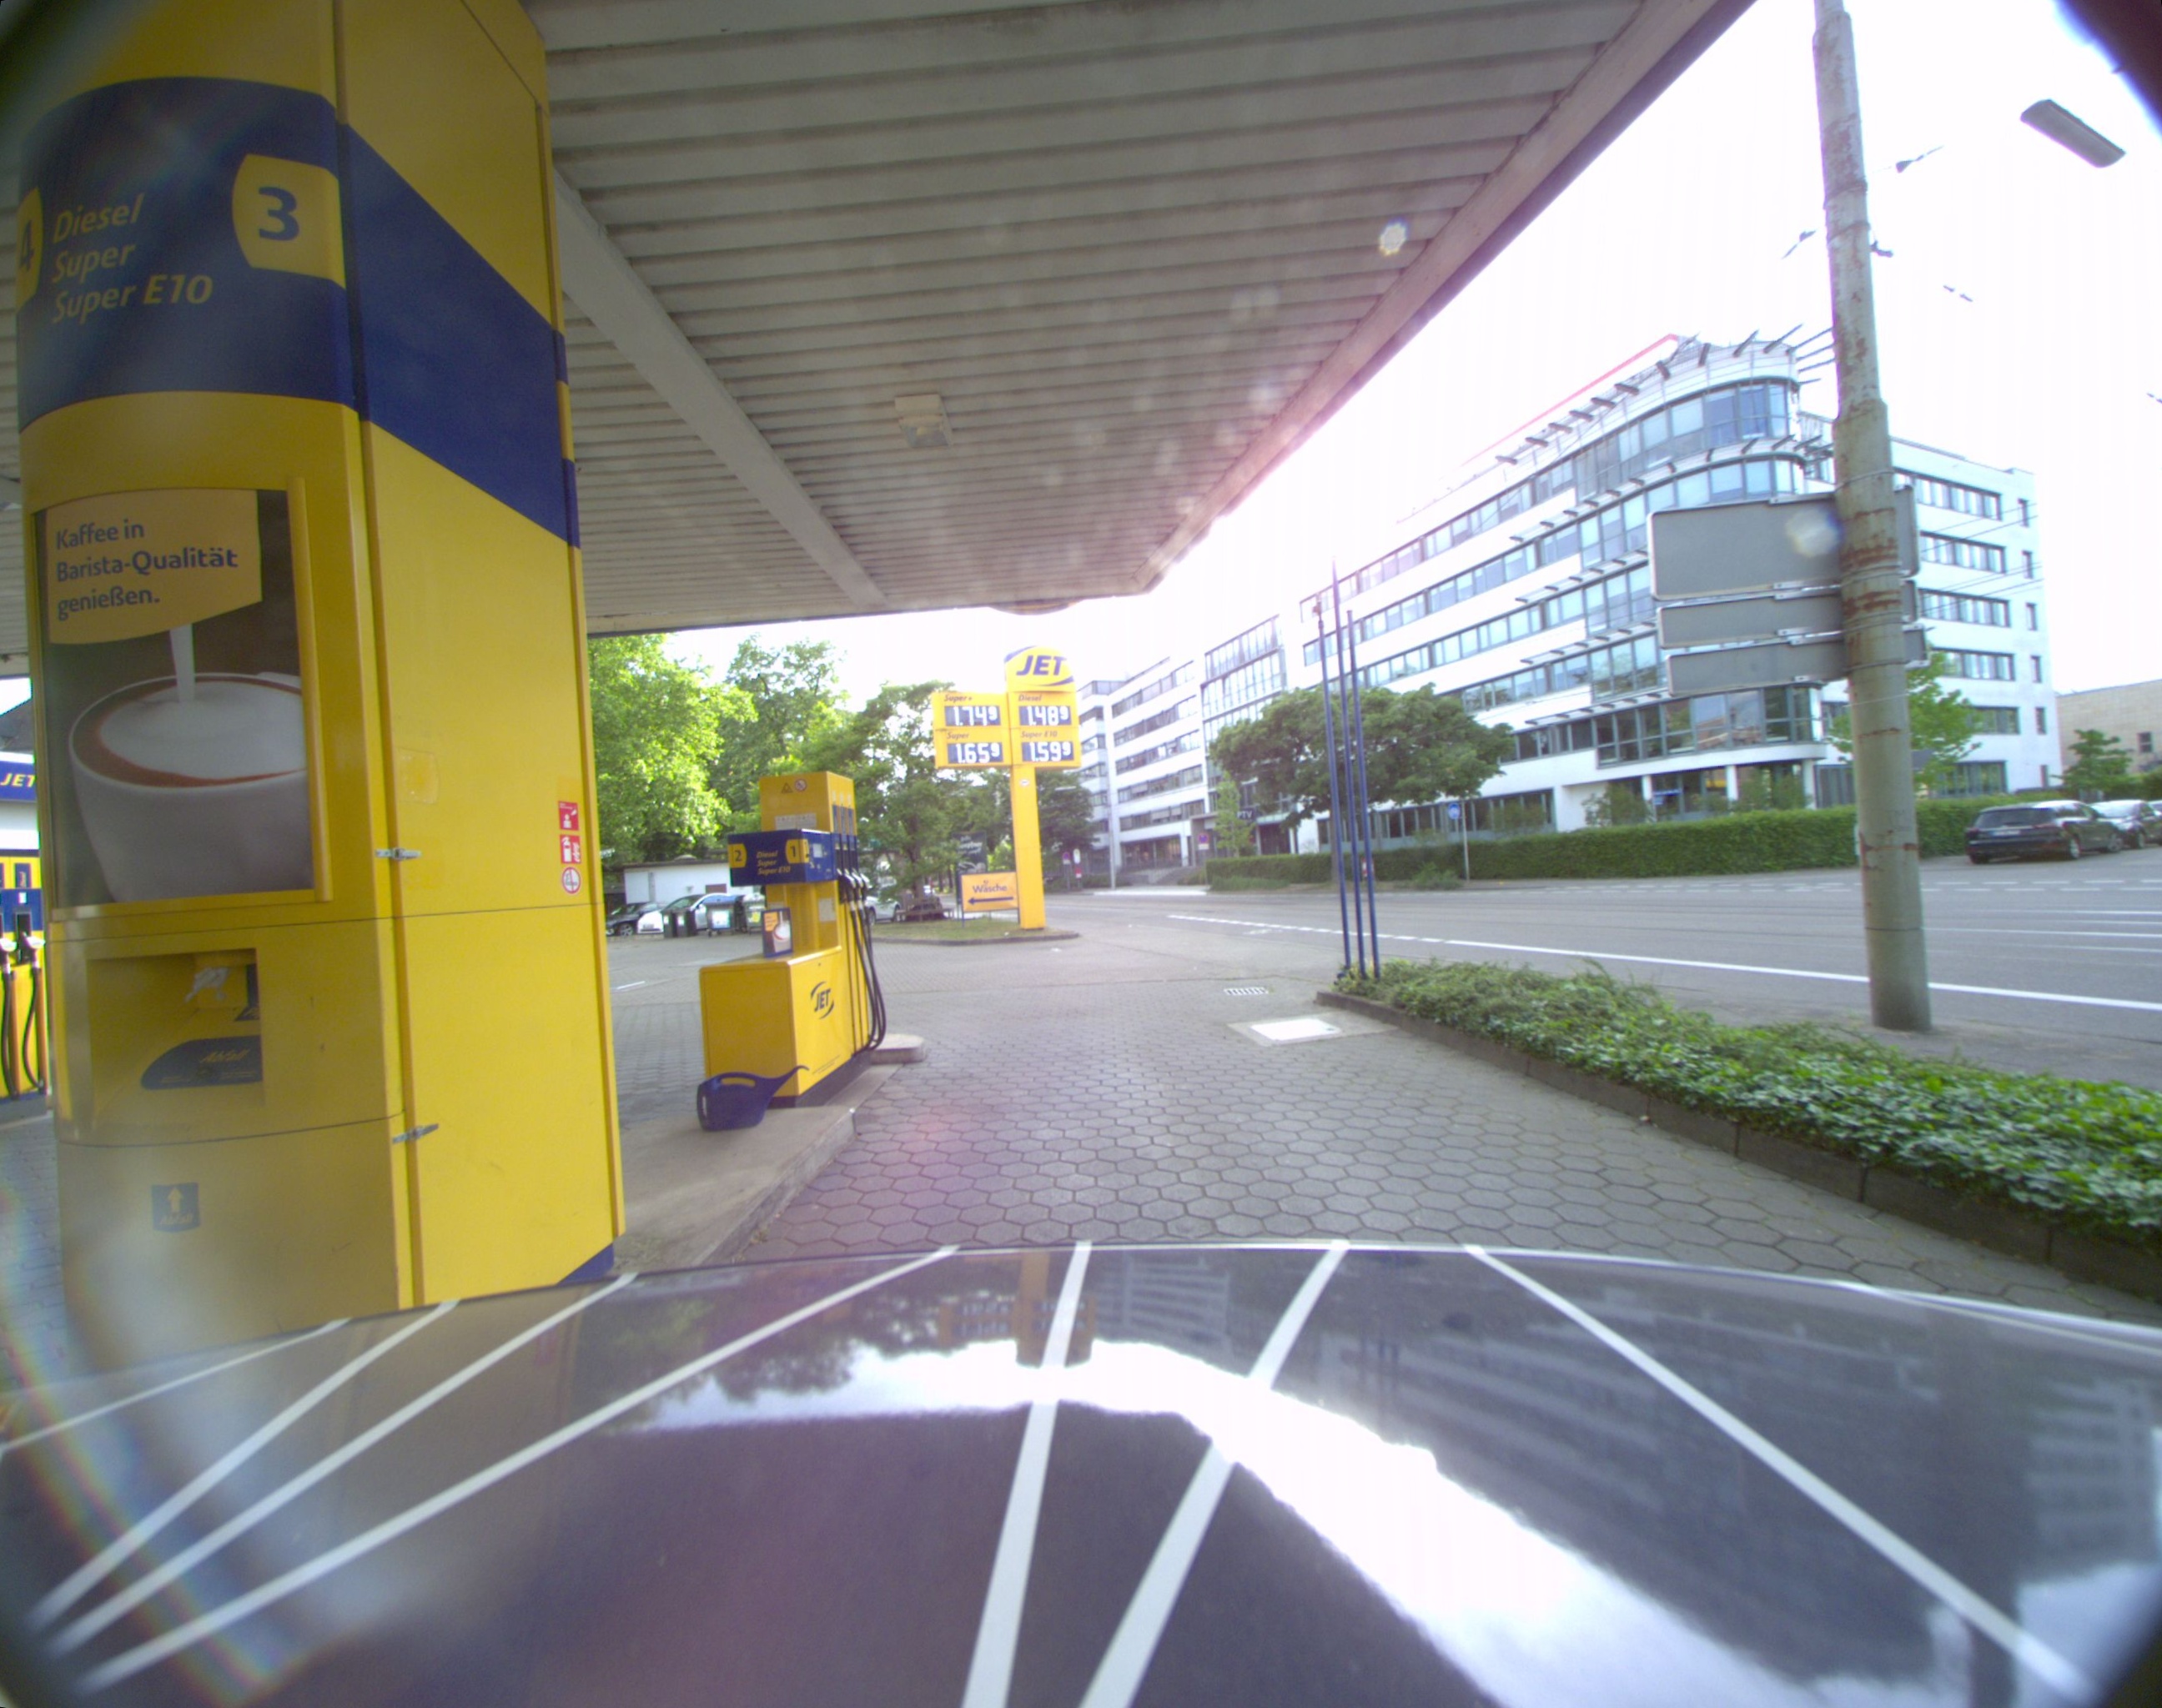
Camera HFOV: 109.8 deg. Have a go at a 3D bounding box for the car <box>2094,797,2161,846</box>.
[{"bbox_3d":[37.126,-1.199,26.145,4.296,1.509,1.945,-4,-1,-27],"label":"car"}]

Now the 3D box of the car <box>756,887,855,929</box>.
[{"bbox_3d":[-11.656,2.270,32.491,1.771,1.591,4.400,-4,-4,13],"label":"car"}]

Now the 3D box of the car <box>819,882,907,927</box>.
[{"bbox_3d":[-8.638,2.005,30.500,1.772,1.591,4.398,-4,-4,6],"label":"car"}]

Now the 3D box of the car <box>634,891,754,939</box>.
[{"bbox_3d":[-15.293,2.369,30.312,1.771,1.591,4.398,-2,-1,14],"label":"car"}]

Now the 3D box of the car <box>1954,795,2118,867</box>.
[{"bbox_3d":[27.273,-0.666,21.690,4.296,1.681,2.010,-4,-1,-27],"label":"car"}]

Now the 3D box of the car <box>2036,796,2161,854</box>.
[{"bbox_3d":[32.544,-0.943,24.093,4.296,1.530,1.945,-4,-1,-27],"label":"car"}]

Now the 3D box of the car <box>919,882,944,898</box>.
[{"bbox_3d":[-14.798,3.563,75.048,1.691,1.424,3.422,-4,-1,-23],"label":"car"}]

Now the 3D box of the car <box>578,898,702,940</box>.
[{"bbox_3d":[-17.796,2.594,30.906,1.771,1.367,4.398,-2,-1,14],"label":"car"}]
